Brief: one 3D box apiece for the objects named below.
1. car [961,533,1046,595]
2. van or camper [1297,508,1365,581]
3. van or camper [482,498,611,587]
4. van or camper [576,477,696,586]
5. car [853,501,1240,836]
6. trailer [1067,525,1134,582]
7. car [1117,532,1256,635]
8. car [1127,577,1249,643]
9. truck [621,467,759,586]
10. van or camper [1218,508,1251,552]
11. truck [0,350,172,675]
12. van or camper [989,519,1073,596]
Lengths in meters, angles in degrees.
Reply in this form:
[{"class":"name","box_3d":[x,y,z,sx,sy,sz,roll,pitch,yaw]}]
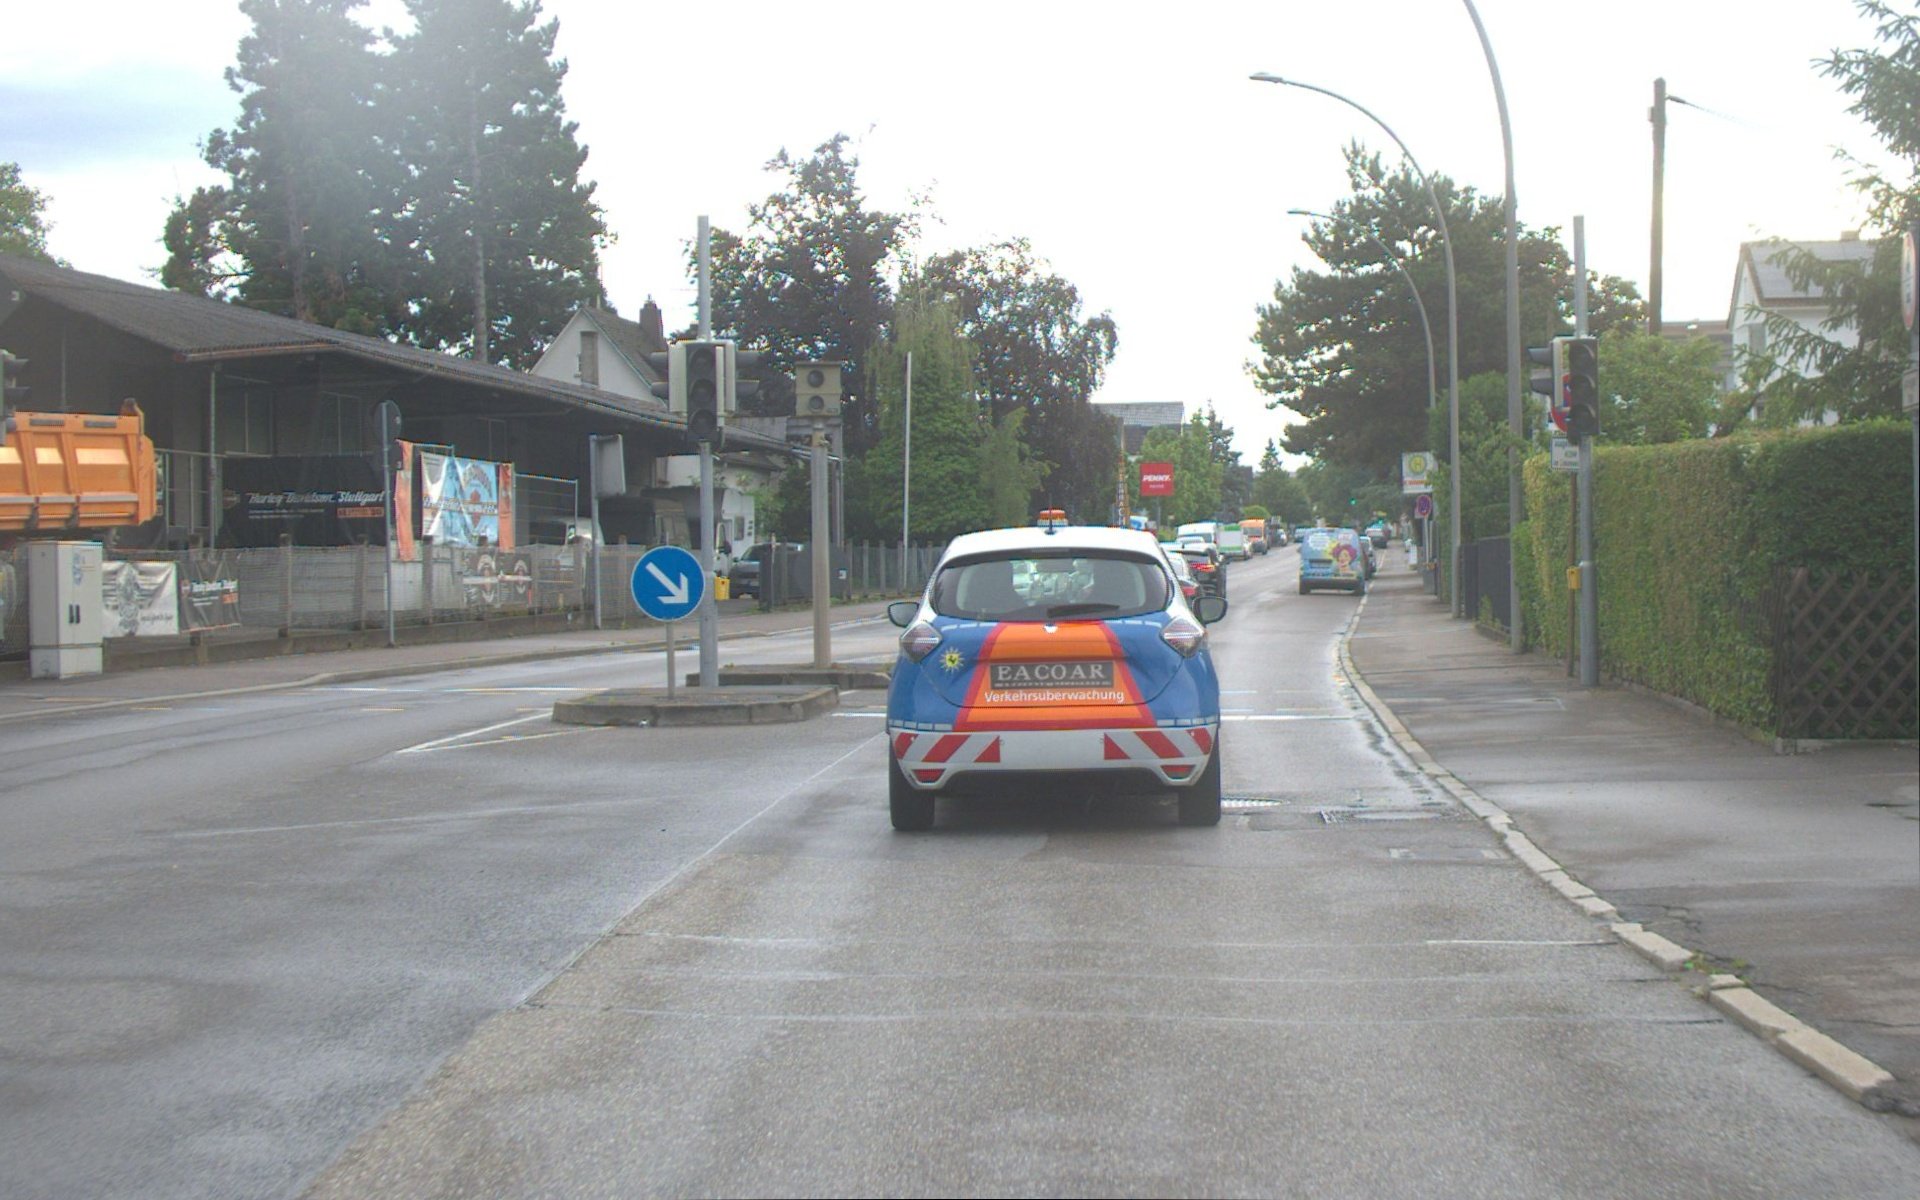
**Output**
[{"class":"car","box_3d":[1.192,-0.951,92.280,1.743,1.475,4.182,-2,-1,8]},{"class":"van or camper","box_3d":[10.375,-1.541,96.362,1.754,1.876,3.999,2,-1,5]},{"class":"van or camper","box_3d":[-9.282,-1.283,77.534,1.994,1.902,4.471,2,1,5]},{"class":"van or camper","box_3d":[-7.903,-1.643,84.300,1.859,2.429,5.232,2,-1,5]},{"class":"car","box_3d":[0.526,0.302,18.980,1.889,1.626,4.000,-1,1,3]},{"class":"trailer","box_3d":[5.160,-1.723,125.705,2.221,2.007,4.436,-1,1,5]},{"class":"car","box_3d":[3.229,-0.209,49.638,1.720,1.371,3.933,2,-1,0]},{"class":"car","box_3d":[5.209,0.241,79.131,1.993,1.415,4.001,2,-1,-8]},{"class":"truck","box_3d":[-6.999,-1.868,89.951,2.395,2.917,5.955,2,0,7]},{"class":"van or camper","box_3d":[17.583,-4.504,219.860,1.994,2.765,5.439,0,1,6]},{"class":"truck","box_3d":[-11.394,-0.952,36.115,2.698,3.400,9.067,2,-1,10]},{"class":"van or camper","box_3d":[2.082,-1.206,99.154,1.891,2.007,5.095,2,-1,7]}]
